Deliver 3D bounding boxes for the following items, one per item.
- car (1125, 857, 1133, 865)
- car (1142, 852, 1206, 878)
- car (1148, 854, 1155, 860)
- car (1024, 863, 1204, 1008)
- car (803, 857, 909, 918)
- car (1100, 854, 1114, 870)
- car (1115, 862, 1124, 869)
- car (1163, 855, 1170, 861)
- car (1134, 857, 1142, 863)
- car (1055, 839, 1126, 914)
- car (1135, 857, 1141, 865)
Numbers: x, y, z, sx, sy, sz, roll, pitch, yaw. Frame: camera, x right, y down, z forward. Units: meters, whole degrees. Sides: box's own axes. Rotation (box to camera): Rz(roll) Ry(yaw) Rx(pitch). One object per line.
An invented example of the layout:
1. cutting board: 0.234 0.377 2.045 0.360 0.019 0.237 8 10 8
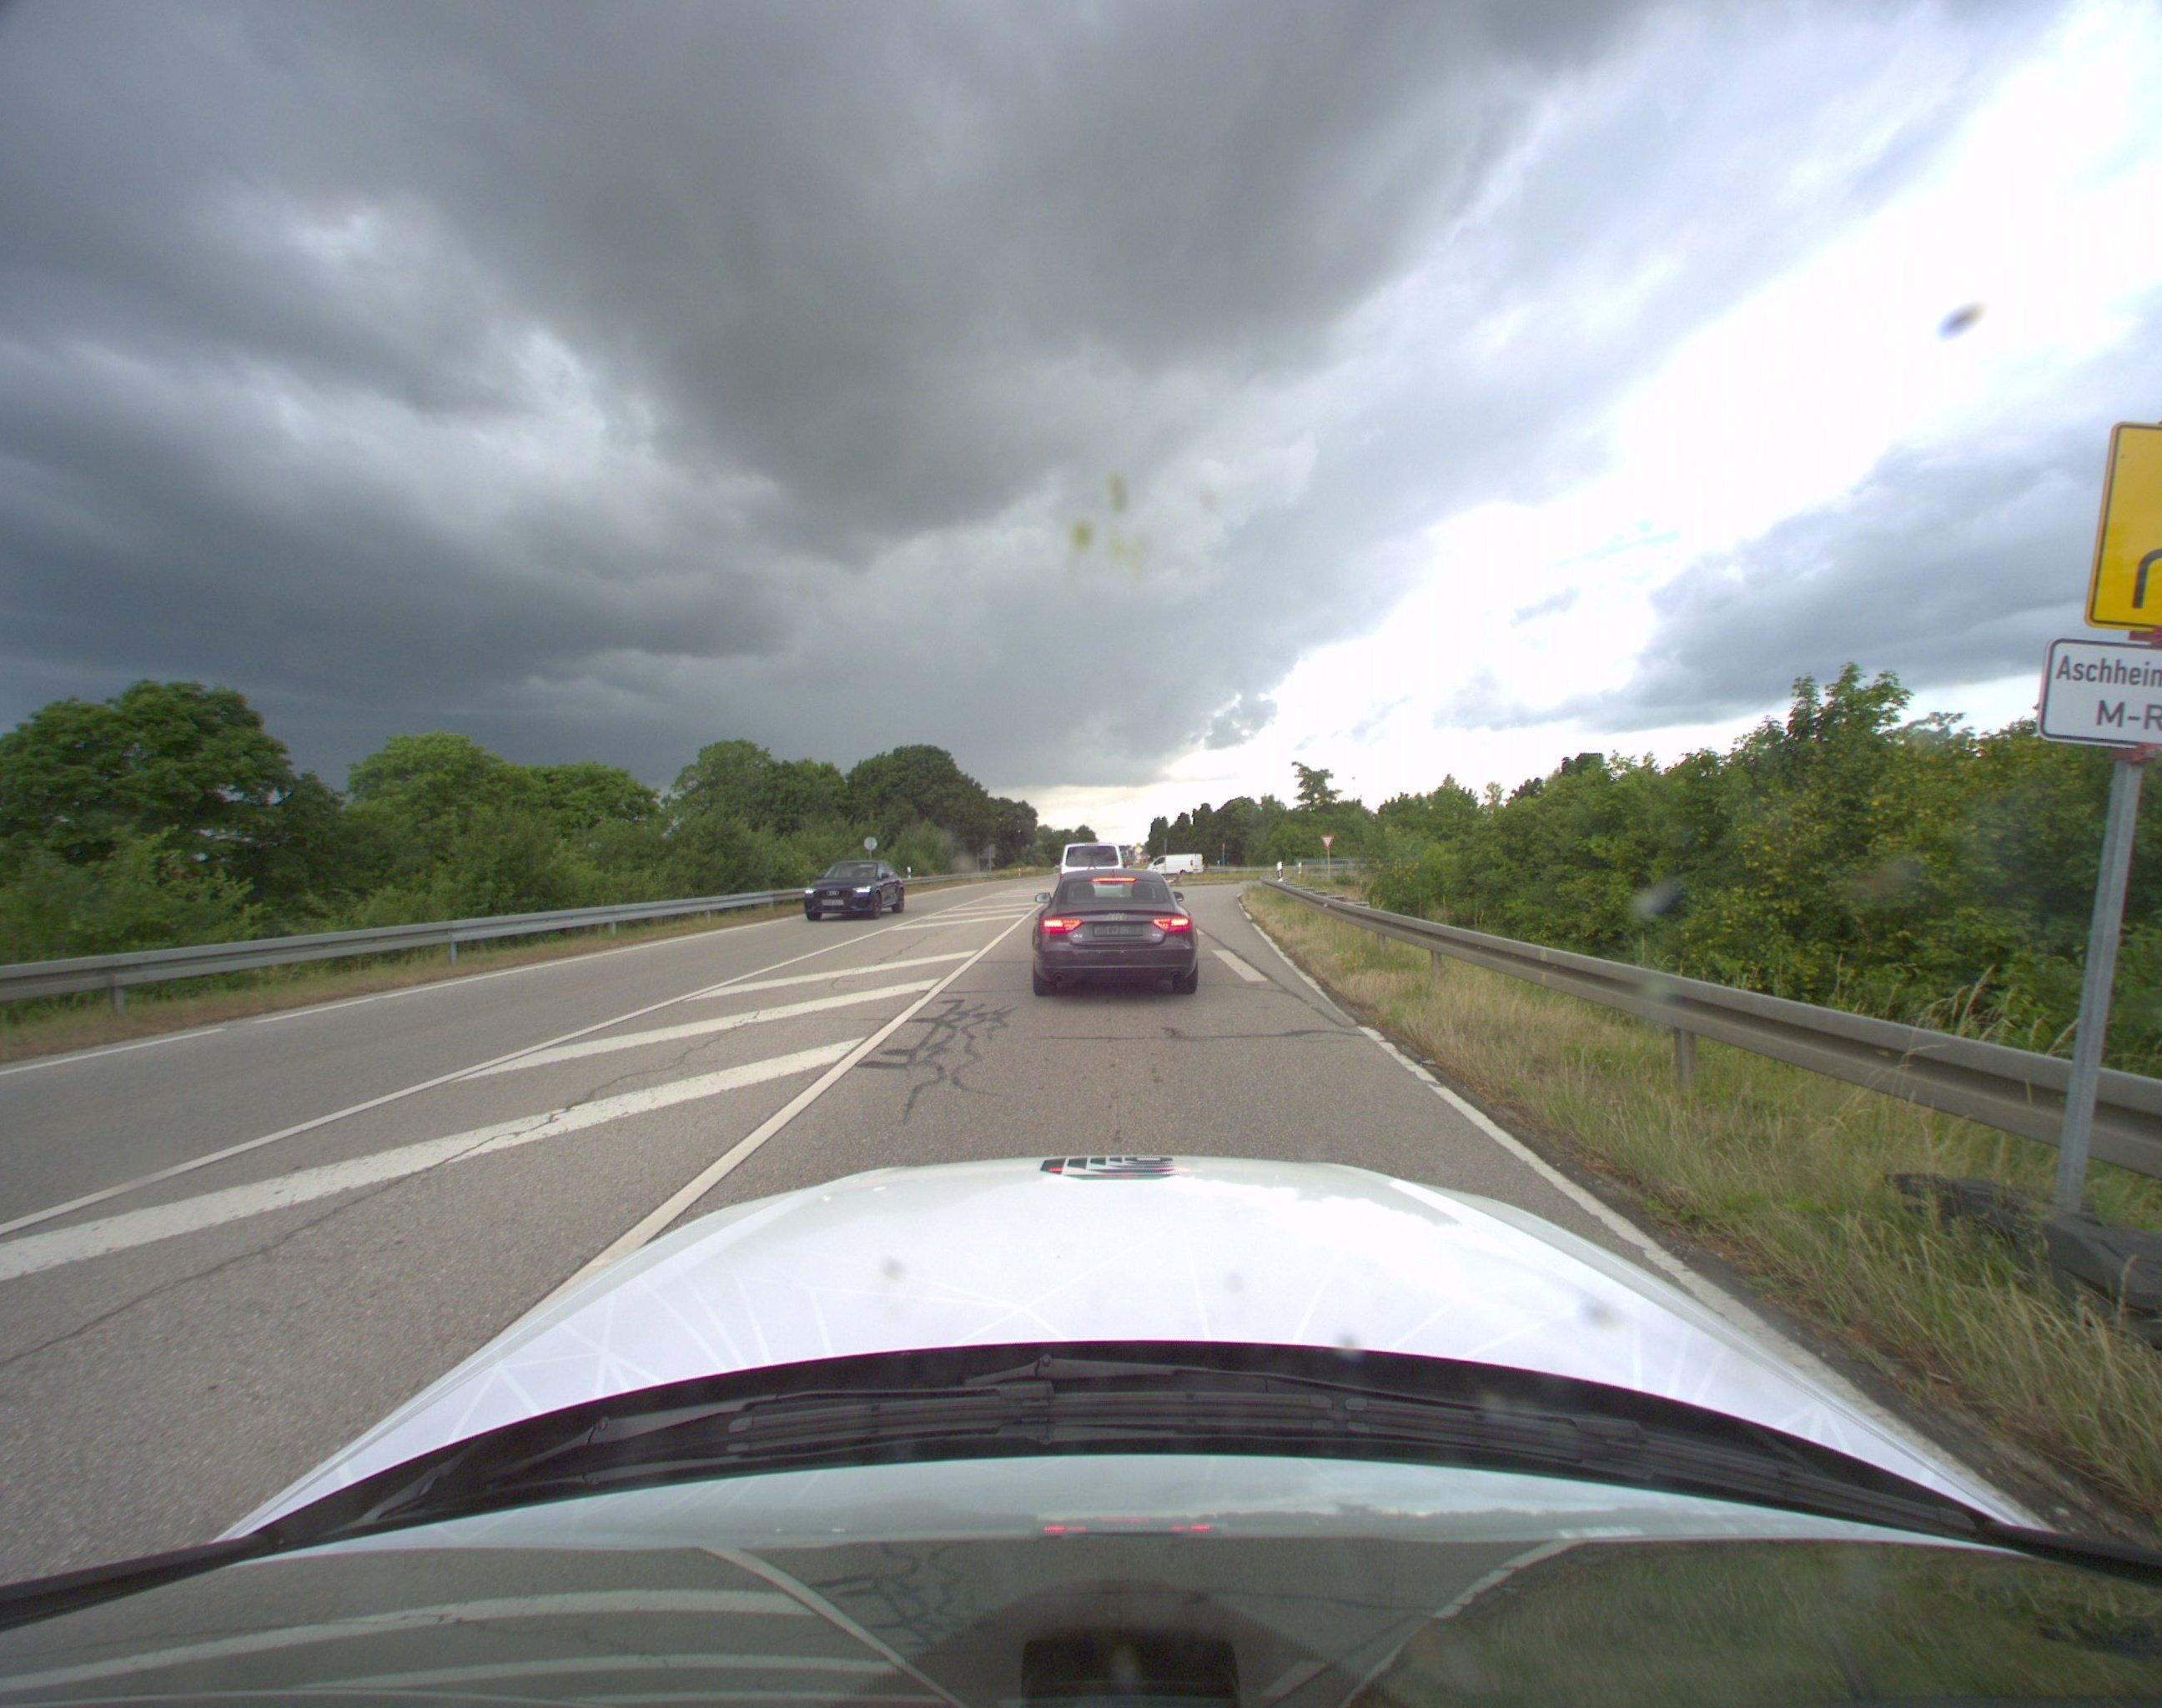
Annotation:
1. car: 13.141 1.965 222.259 1.985 2.013 4.003 -1 0 3
2. car: 7.678 0.926 67.355 4.813 2.064 2.101 -1 0 38
3. car: 21.118 0.806 243.242 1.985 1.692 4.004 -1 0 3
4. car: 0.342 0.829 9.810 1.774 1.398 3.336 -1 0 0
5. car: -6.159 0.849 22.789 1.704 1.518 4.210 -1 0 1
6. car: 3.989 1.179 123.699 1.986 2.408 4.002 1 0 2
7. car: 8.178 2.409 170.899 1.514 1.399 3.191 -1 -2 9
8. car: 24.897 1.207 236.171 1.865 1.692 4.008 -1 0 7
9. car: 17.009 1.778 244.164 2.198 1.582 4.379 -1 0 1
10. car: 0.285 0.602 23.879 1.904 2.013 4.000 -1 0 1
11. car: 15.391 1.801 220.495 1.666 2.013 3.628 -1 0 4
